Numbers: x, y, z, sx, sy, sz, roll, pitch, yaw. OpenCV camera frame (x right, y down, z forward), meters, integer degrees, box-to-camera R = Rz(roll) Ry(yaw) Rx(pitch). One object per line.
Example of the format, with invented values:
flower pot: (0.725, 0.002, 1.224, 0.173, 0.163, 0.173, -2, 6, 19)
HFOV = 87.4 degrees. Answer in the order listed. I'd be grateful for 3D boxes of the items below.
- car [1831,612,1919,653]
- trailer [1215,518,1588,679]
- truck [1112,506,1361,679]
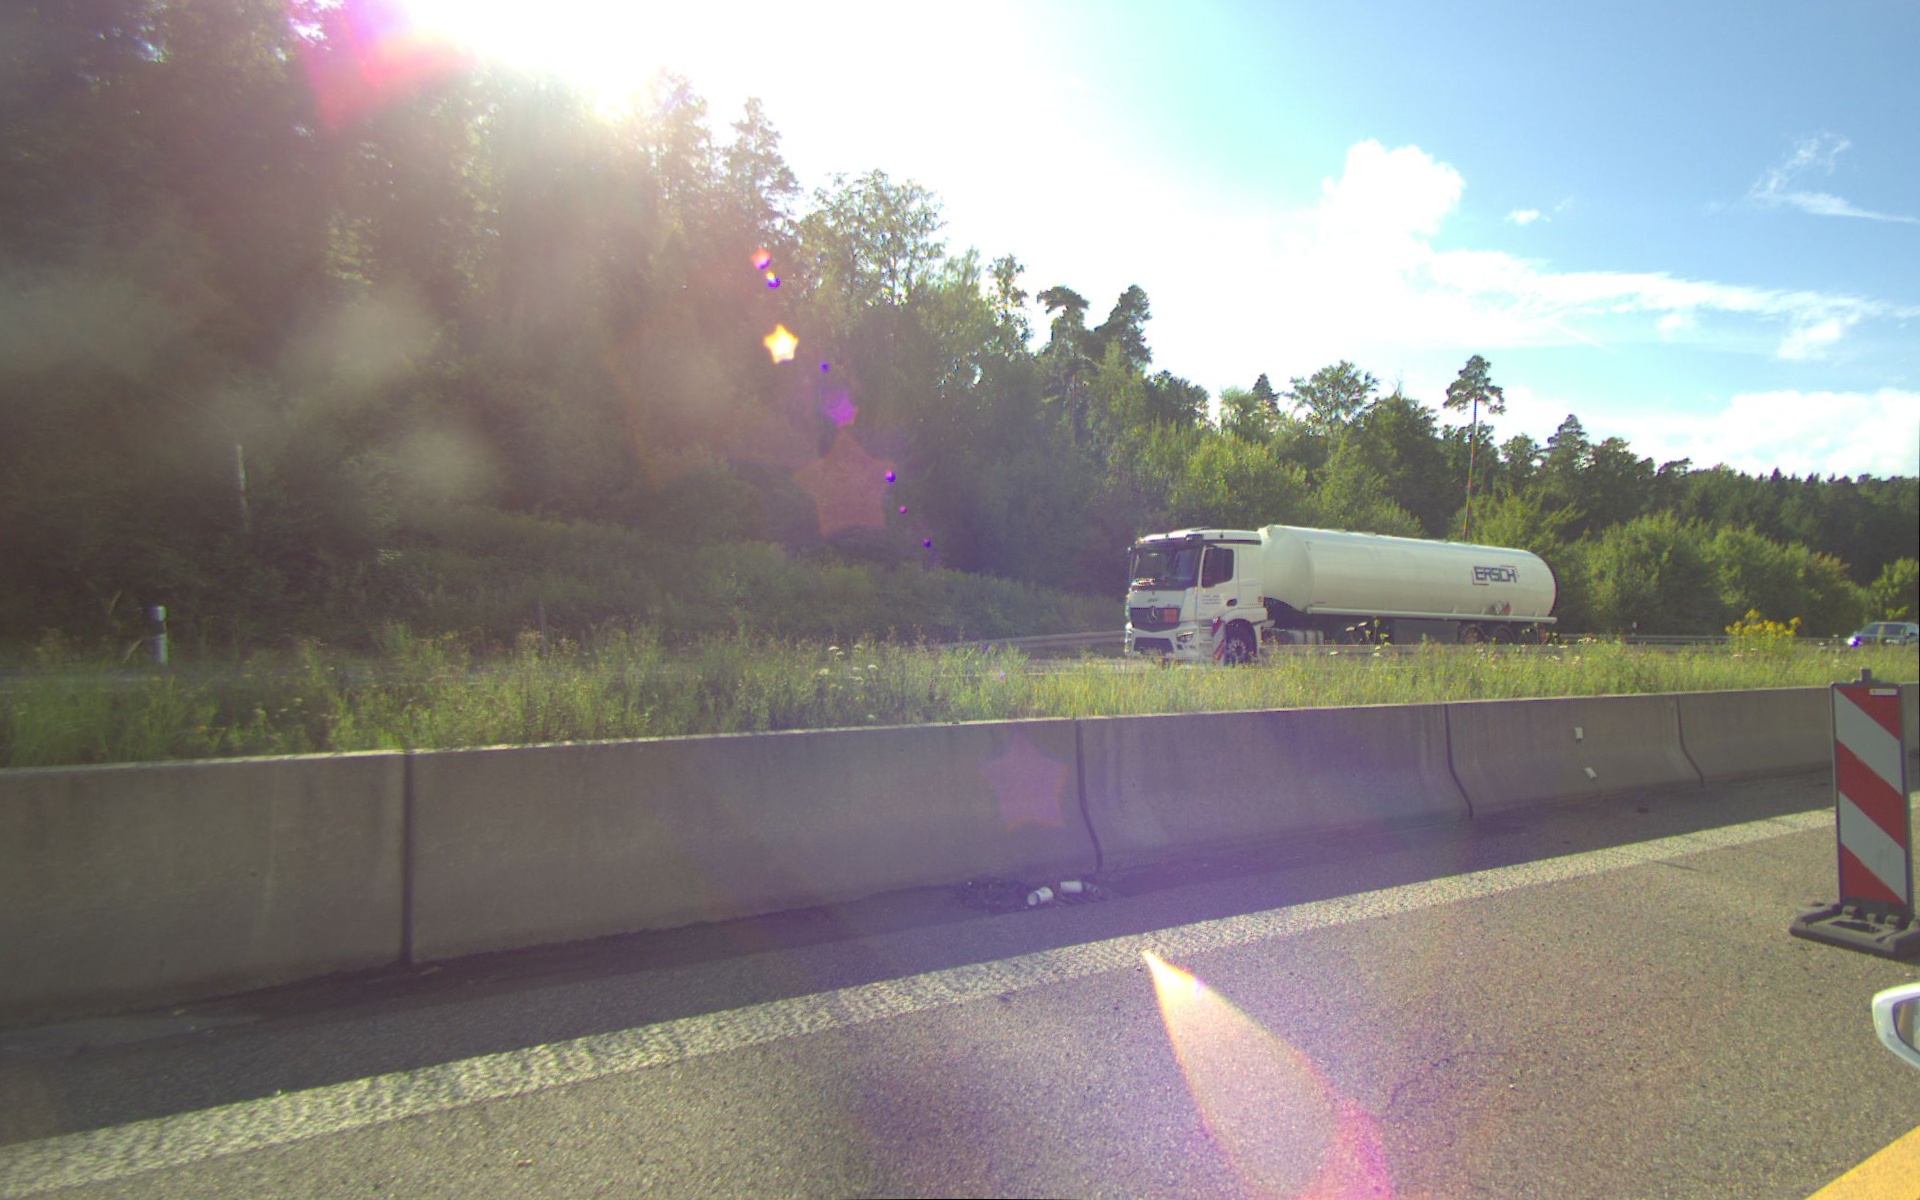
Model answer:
car: (39.534, 1.411, 43.301, 3.969, 1.624, 1.770, 2, 0, -29)
trailer: (11.699, 0.104, 25.994, 10.979, 3.536, 2.789, 2, 0, -30)
truck: (6.294, -0.109, 22.907, 4.879, 3.536, 2.773, 2, 0, -29)
